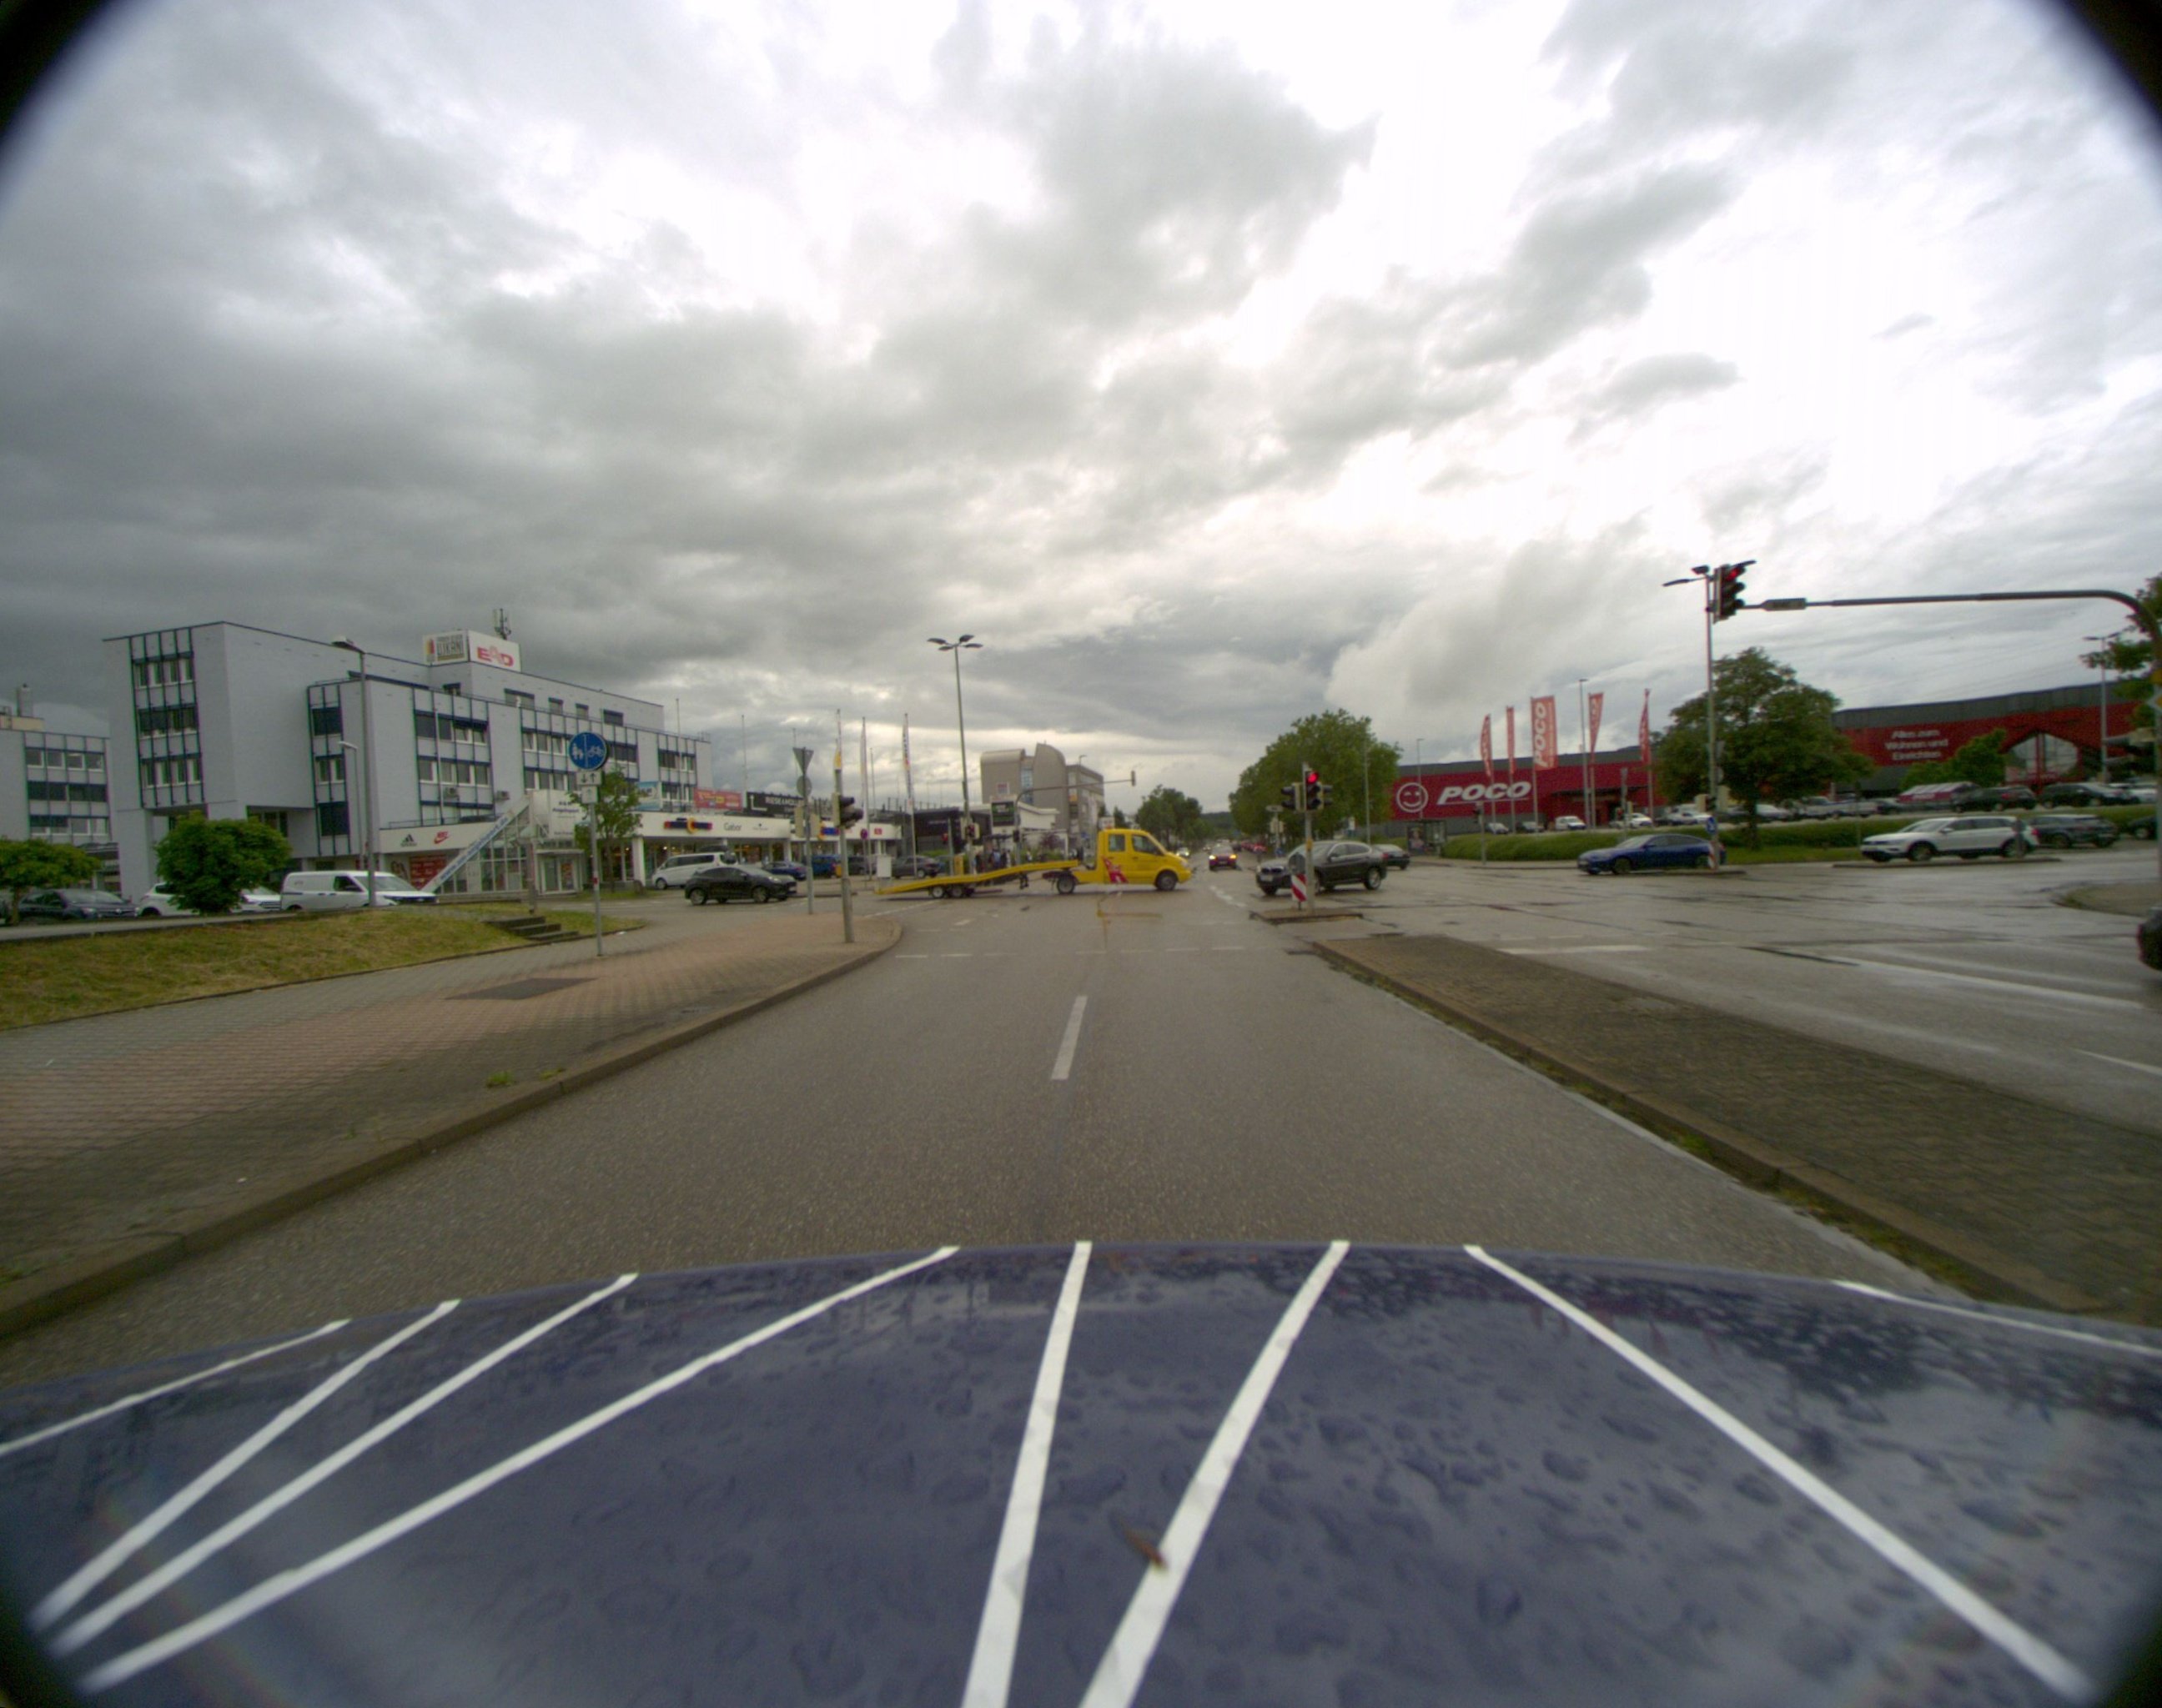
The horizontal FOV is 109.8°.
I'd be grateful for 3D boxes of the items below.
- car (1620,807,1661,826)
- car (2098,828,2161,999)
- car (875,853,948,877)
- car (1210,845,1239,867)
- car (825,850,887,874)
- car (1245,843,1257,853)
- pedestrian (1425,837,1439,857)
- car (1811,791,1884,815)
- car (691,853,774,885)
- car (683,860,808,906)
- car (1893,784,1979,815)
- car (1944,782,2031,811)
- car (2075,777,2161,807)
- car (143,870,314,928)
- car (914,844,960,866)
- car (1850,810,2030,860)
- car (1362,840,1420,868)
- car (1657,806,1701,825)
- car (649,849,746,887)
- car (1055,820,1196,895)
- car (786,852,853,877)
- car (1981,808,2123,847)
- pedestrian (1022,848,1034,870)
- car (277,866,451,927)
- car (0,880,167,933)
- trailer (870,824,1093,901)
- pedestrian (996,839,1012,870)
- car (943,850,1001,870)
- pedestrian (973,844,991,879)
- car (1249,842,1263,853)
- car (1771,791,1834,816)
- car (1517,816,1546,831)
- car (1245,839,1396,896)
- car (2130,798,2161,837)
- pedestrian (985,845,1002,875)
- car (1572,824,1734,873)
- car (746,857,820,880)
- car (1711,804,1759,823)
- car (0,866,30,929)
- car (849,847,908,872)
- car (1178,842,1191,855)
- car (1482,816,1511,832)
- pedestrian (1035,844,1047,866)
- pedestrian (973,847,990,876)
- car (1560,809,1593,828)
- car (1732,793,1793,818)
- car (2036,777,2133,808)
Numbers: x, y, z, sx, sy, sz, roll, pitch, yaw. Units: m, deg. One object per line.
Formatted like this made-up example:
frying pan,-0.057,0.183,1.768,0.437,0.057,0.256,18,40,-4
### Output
car,54.449,-3.603,74.055,1.670,1.636,3.966,-2,0,11
car,10.364,0.509,4.683,1.998,1.499,4.731,-2,0,4
car,-10.892,0.726,48.911,4.119,1.386,1.825,-2,1,16
car,9.928,0.093,52.752,1.716,1.455,4.002,0,1,7
car,-18.331,0.664,61.904,4.367,1.754,1.898,-2,1,12
car,28.973,-1.028,129.556,1.841,1.579,4.003,-2,0,10
pedestrian,25.812,-0.537,55.929,0.780,1.423,0.641,-1,1,7
car,53.582,-3.528,53.213,1.670,1.373,3.912,-2,0,11
car,-21.619,0.932,47.165,4.367,1.809,1.898,-2,1,12
car,-13.079,1.118,29.773,3.995,1.532,1.814,-2,2,5
car,73.019,-4.591,65.023,1.823,2.290,5.652,-2,0,11
car,59.931,-3.782,50.331,1.670,1.636,3.830,-2,0,11
car,67.554,-4.016,49.226,1.670,1.636,3.830,-2,0,11
car,-28.098,1.457,25.091,3.994,1.698,1.825,-2,1,9
car,-14.417,0.102,76.062,3.992,2.002,1.913,-2,1,16
car,31.313,-0.667,27.839,3.993,1.544,1.903,-3,0,13
car,17.218,-0.008,42.391,1.787,1.396,4.001,-2,0,4
car,57.078,-3.666,72.581,1.670,1.636,3.966,-2,0,11
car,-22.166,0.795,43.953,4.779,2.002,2.002,-2,0,14
car,1.636,0.132,28.593,5.011,2.459,2.247,-3,0,1
car,-19.654,0.783,57.145,4.367,1.754,1.898,-2,1,12
car,42.650,-1.133,33.513,1.683,1.544,3.661,-2,0,3
pedestrian,-4.080,0.373,58.879,0.700,1.701,0.698,-2,1,13
car,-22.922,1.343,24.355,4.243,1.772,1.800,-2,-1,9
car,-34.169,1.765,26.025,3.994,1.589,1.825,-2,1,9
trailer,-3.629,0.319,28.795,7.963,2.459,2.311,-3,0,3
pedestrian,-5.024,0.022,49.573,0.740,2.002,0.698,-2,1,12
car,-8.544,0.465,59.718,4.120,1.386,1.901,-2,1,12
pedestrian,-5.752,0.404,44.142,0.817,2.002,0.695,-2,2,-30
car,27.417,-1.010,119.199,1.841,1.579,4.004,0,-1,10
car,54.227,-3.781,57.222,1.630,1.636,3.830,-2,0,11
car,52.841,-3.592,89.200,1.695,1.636,3.966,-2,0,11
car,7.535,0.387,23.823,4.599,1.544,1.897,-2,1,-31
car,48.190,-1.635,32.507,1.683,1.714,3.661,-2,0,3
pedestrian,-5.421,0.354,47.221,0.814,1.846,0.698,0,3,13
car,21.225,-0.190,28.325,4.546,1.623,1.802,-2,1,5
car,-20.235,1.006,51.720,4.367,1.386,1.825,-2,1,12
car,61.641,-3.802,71.668,1.670,1.636,3.966,-2,0,11
car,-31.014,1.245,19.385,1.890,1.730,4.504,-2,0,7
car,-17.185,0.467,64.475,4.367,1.895,1.898,-2,1,12
car,14.236,-0.709,104.259,1.619,1.718,3.680,-2,0,9
car,46.712,-3.327,85.436,1.695,1.636,3.966,-2,0,11
pedestrian,-3.240,0.079,61.610,0.713,1.701,0.698,-2,1,13
pedestrian,-6.024,0.448,46.093,0.817,1.765,0.695,-2,2,-30
car,57.942,-4.124,88.925,1.789,1.914,3.752,-2,0,10
car,51.225,-3.607,57.213,1.670,1.636,3.830,-2,0,11
car,64.785,-3.924,49.134,1.670,1.636,3.830,-2,0,11
